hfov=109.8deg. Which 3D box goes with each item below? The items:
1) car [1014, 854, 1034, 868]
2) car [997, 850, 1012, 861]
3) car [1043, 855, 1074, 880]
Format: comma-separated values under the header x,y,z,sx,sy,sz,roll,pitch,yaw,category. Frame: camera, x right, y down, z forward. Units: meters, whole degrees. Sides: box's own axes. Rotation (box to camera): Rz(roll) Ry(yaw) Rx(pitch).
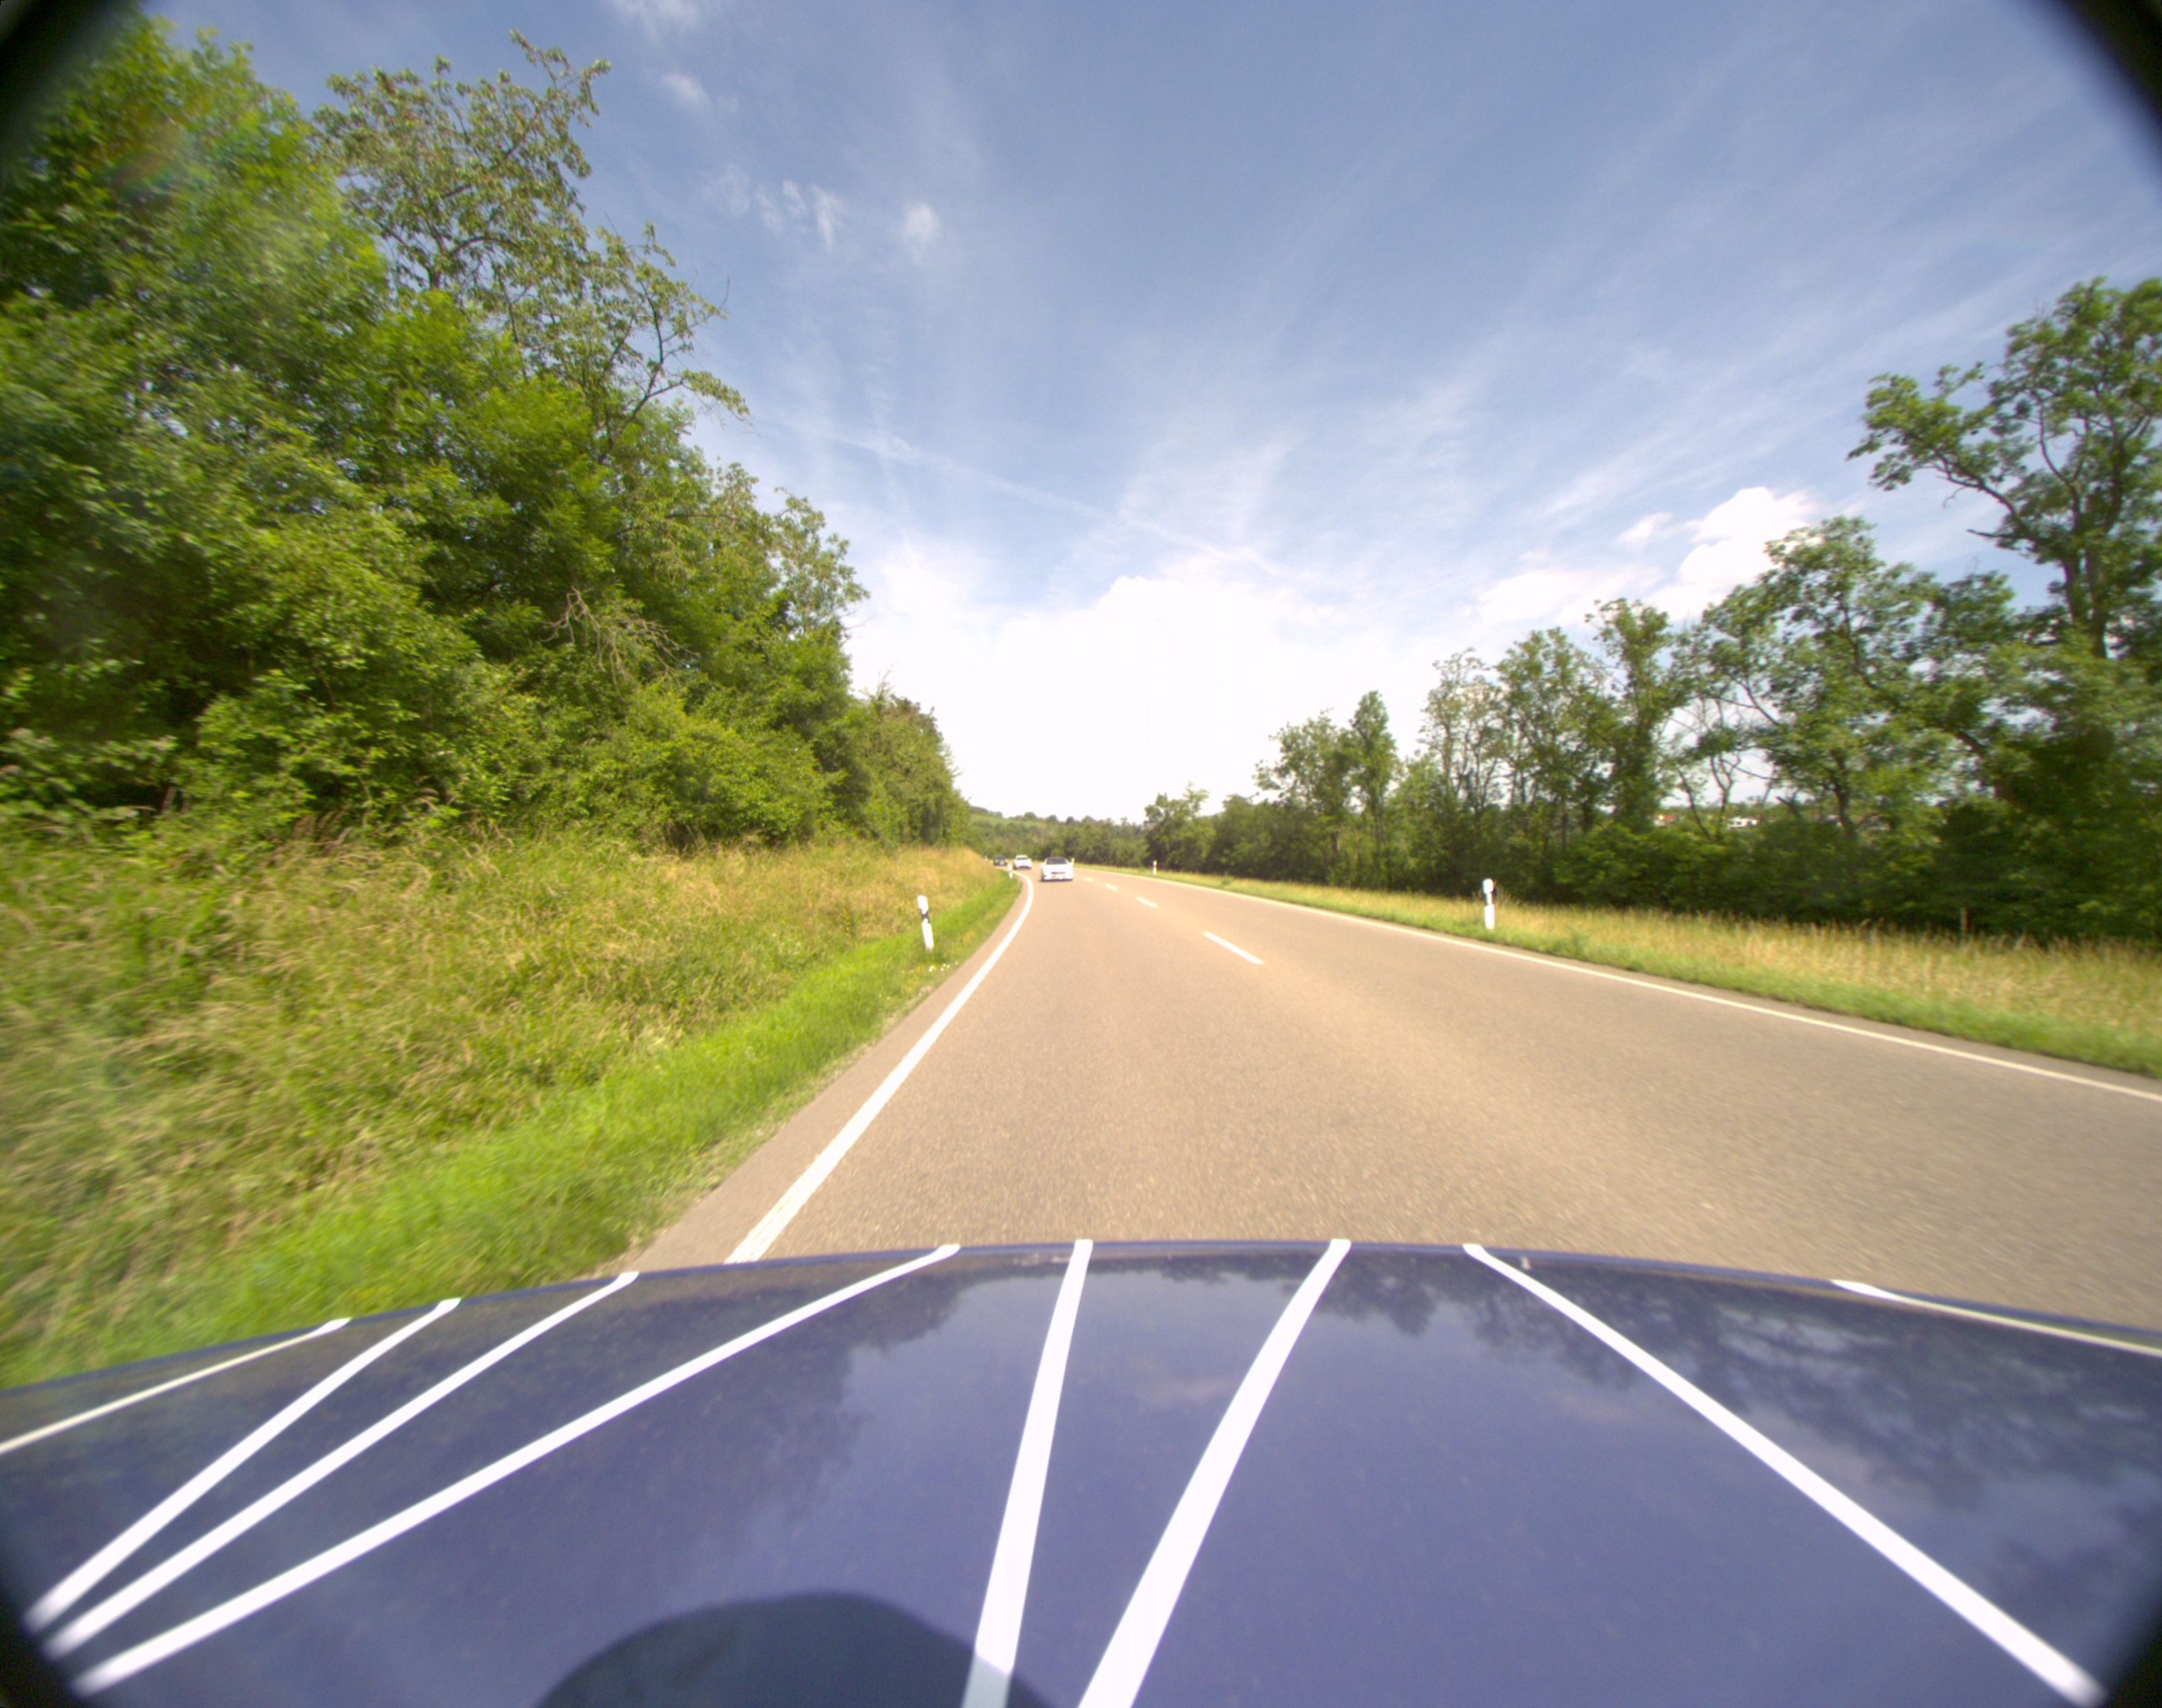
x,y,z,sx,sy,sz,roll,pitch,yaw,category
-6.294,0.749,84.008,1.867,1.480,3.996,-3,1,-8,car
-11.153,0.169,110.004,1.826,1.510,3.996,2,0,-10,car
-1.462,0.807,47.418,1.773,1.437,3.998,-2,1,-3,car
